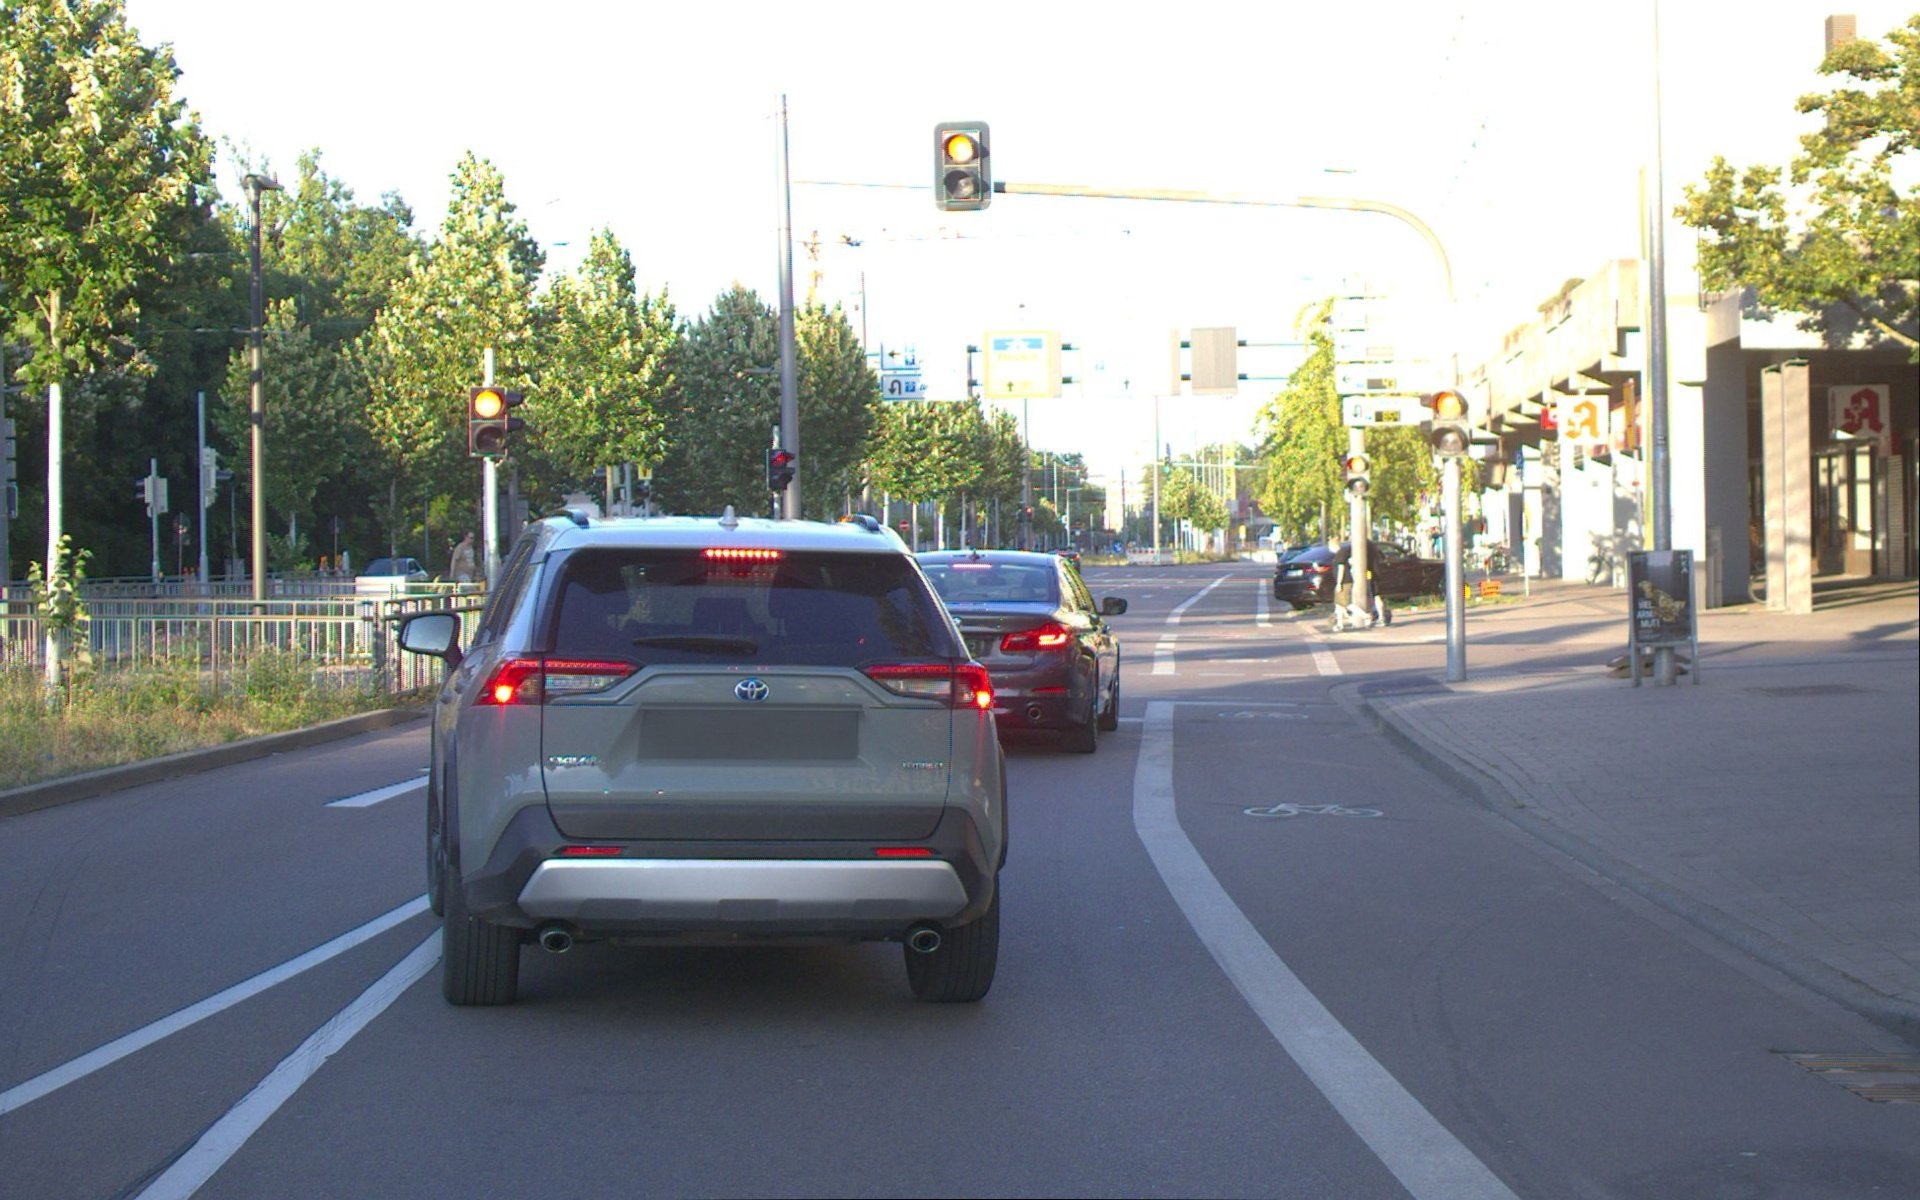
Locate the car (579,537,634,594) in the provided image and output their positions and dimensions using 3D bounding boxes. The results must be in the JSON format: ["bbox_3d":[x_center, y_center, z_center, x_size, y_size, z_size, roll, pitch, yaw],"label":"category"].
[{"bbox_3d":[-14.363,-1.437,139.813,1.993,2.160,4.752,0,2,-3],"label":"car"}]

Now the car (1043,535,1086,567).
[{"bbox_3d":[5.095,-2.395,167.050,1.979,1.428,4.843,1,2,3],"label":"car"}]

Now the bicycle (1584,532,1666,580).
[{"bbox_3d":[17.076,-1.119,88.318,2.017,1.145,0.690,2,0,10],"label":"bicycle"}]

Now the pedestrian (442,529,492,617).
[{"bbox_3d":[-9.716,-0.530,67.761,0.835,1.706,0.647,-1,1,2],"label":"pedestrian"}]

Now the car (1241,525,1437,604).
[{"bbox_3d":[8.446,-0.816,76.520,4.256,1.653,1.860,-1,3,-39],"label":"car"}]

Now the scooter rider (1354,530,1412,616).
[{"bbox_3d":[7.566,-0.483,61.465,0.822,1.509,0.652,0,1,28],"label":"scooter rider"}]

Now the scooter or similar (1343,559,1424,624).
[{"bbox_3d":[7.574,-0.148,61.438,1.331,1.149,0.513,0,1,28],"label":"scooter or similar"}]

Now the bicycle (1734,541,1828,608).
[{"bbox_3d":[14.511,-0.460,60.795,0.688,1.145,2.023,2,0,-15],"label":"bicycle"}]

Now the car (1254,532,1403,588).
[{"bbox_3d":[11.255,-1.235,104.842,4.254,1.653,1.861,-1,3,-31],"label":"car"}]

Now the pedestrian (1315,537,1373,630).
[{"bbox_3d":[6.646,-0.293,59.502,0.836,1.581,0.811,-1,1,18],"label":"pedestrian"}]

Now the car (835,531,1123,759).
[{"bbox_3d":[0.232,0.269,26.134,1.932,1.476,4.522,1,2,3],"label":"car"}]

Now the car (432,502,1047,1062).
[{"bbox_3d":[-0.993,0.499,12.703,1.854,1.653,4.270,0,2,-9],"label":"car"}]
